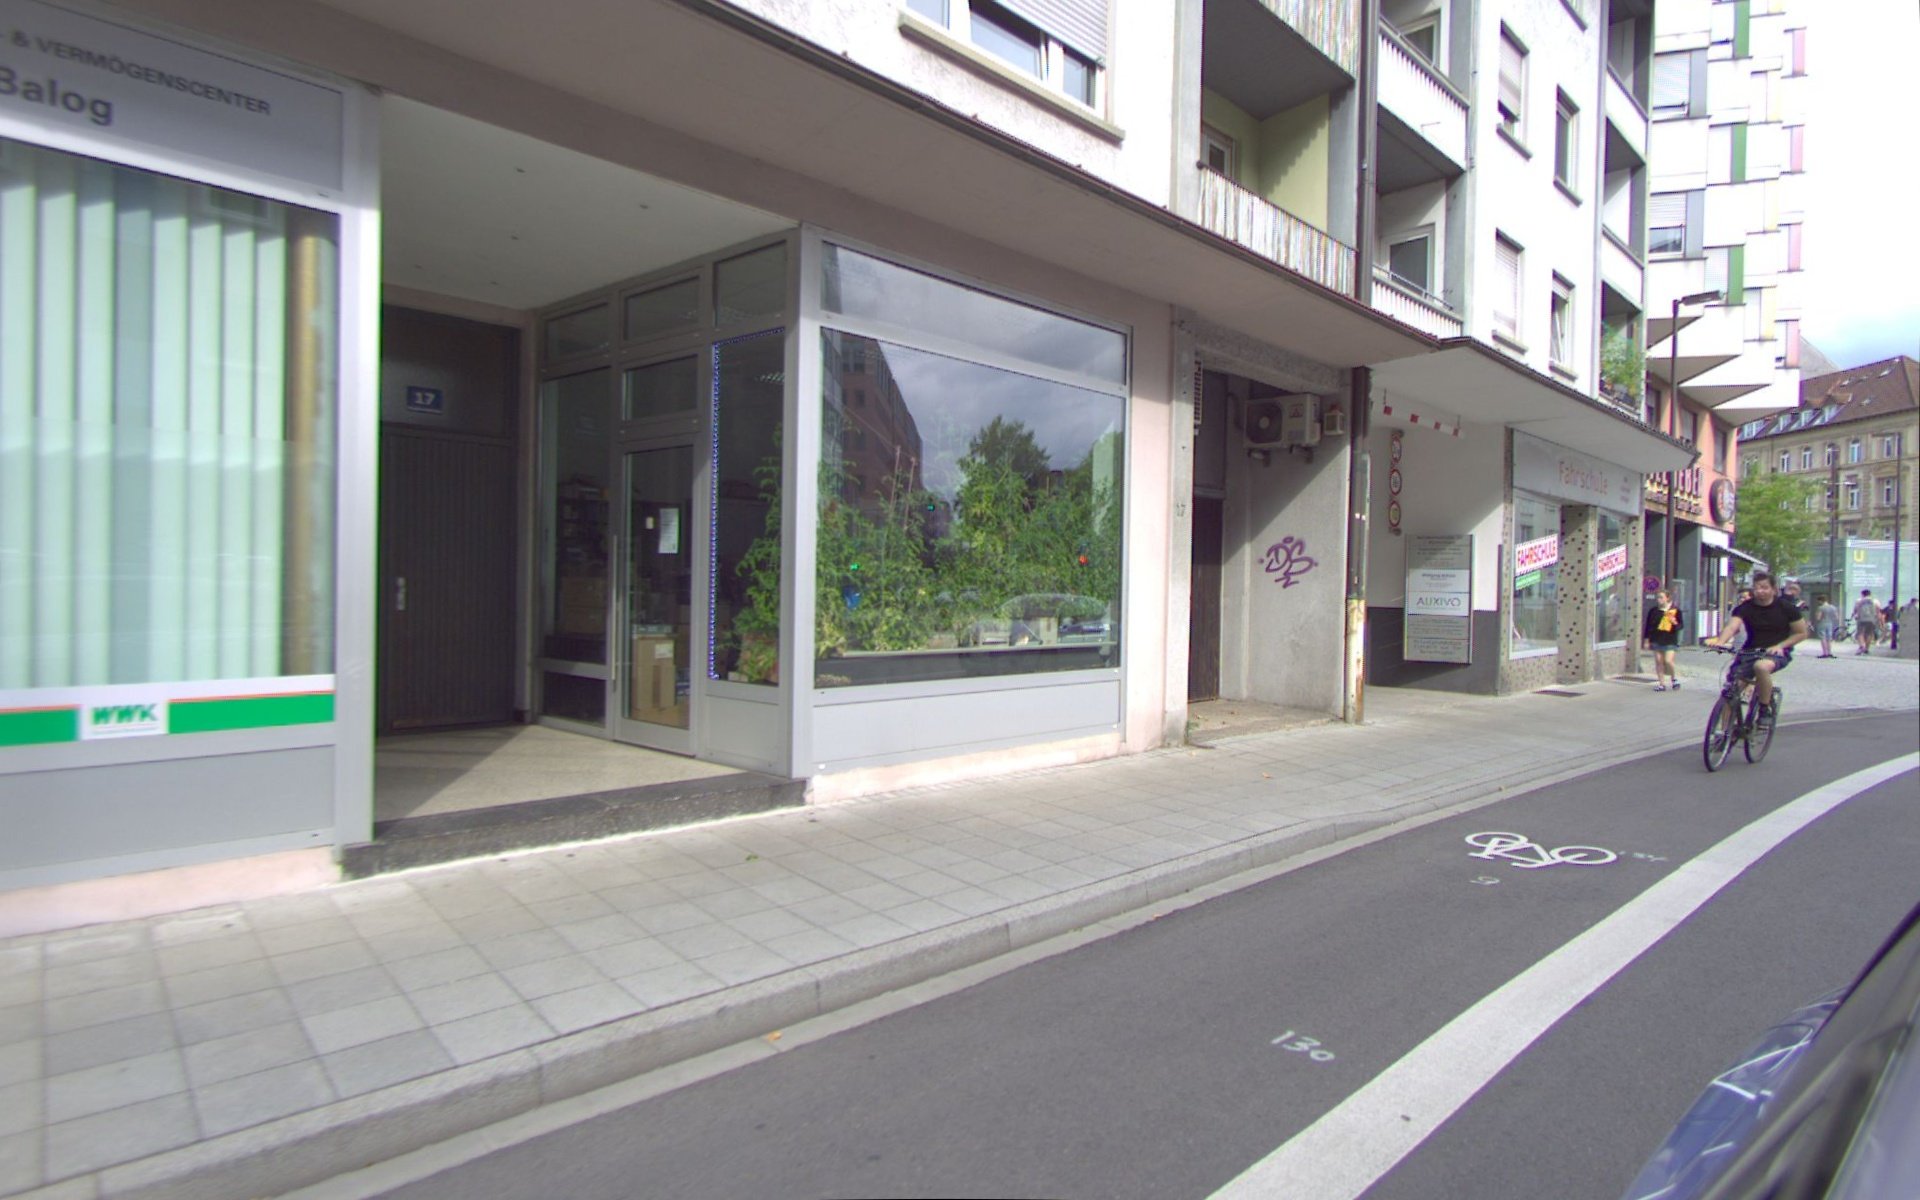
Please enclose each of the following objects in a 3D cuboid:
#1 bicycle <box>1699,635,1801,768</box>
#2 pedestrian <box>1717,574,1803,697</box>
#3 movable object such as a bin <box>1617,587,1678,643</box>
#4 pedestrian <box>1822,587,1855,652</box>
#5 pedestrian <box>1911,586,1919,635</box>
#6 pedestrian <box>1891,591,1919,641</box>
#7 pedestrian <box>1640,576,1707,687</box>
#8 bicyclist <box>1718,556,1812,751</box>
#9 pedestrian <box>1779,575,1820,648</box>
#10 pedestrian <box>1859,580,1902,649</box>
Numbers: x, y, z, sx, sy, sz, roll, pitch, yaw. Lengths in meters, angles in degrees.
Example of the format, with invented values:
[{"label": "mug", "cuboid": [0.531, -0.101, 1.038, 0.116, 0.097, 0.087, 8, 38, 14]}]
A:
[{"label": "bicycle", "cuboid": [7.488, 0.904, 9.563, 1.982, 1.136, 0.406, 2, -1, -42]}, {"label": "pedestrian", "cuboid": [12.188, 0.517, 15.417, 0.844, 1.771, 0.753, 1, 4, -40]}, {"label": "movable object such as a bin", "cuboid": [18.779, 0.391, 27.652, 1.204, 1.478, 1.146, 0, 1, -44]}, {"label": "pedestrian", "cuboid": [23.226, 0.507, 26.757, 0.580, 1.693, 0.473, 1, 3, -42]}, {"label": "pedestrian", "cuboid": [37.166, 0.419, 38.928, 0.573, 1.890, 0.491, 2, 1, -3]}, {"label": "pedestrian", "cuboid": [36.357, 0.614, 38.874, 0.573, 1.890, 0.549, 2, 1, -3]}, {"label": "pedestrian", "cuboid": [11.489, 0.480, 16.294, 0.928, 1.688, 0.605, 0, 4, -45]}, {"label": "bicyclist", "cuboid": [7.543, 0.471, 9.476, 0.848, 1.731, 0.559, 1, 1, -44]}, {"label": "pedestrian", "cuboid": [22.794, 0.310, 27.480, 0.580, 1.926, 0.673, 1, 3, -42]}, {"label": "pedestrian", "cuboid": [25.962, 0.401, 28.553, 0.954, 1.874, 0.658, 0, 4, -40]}]
